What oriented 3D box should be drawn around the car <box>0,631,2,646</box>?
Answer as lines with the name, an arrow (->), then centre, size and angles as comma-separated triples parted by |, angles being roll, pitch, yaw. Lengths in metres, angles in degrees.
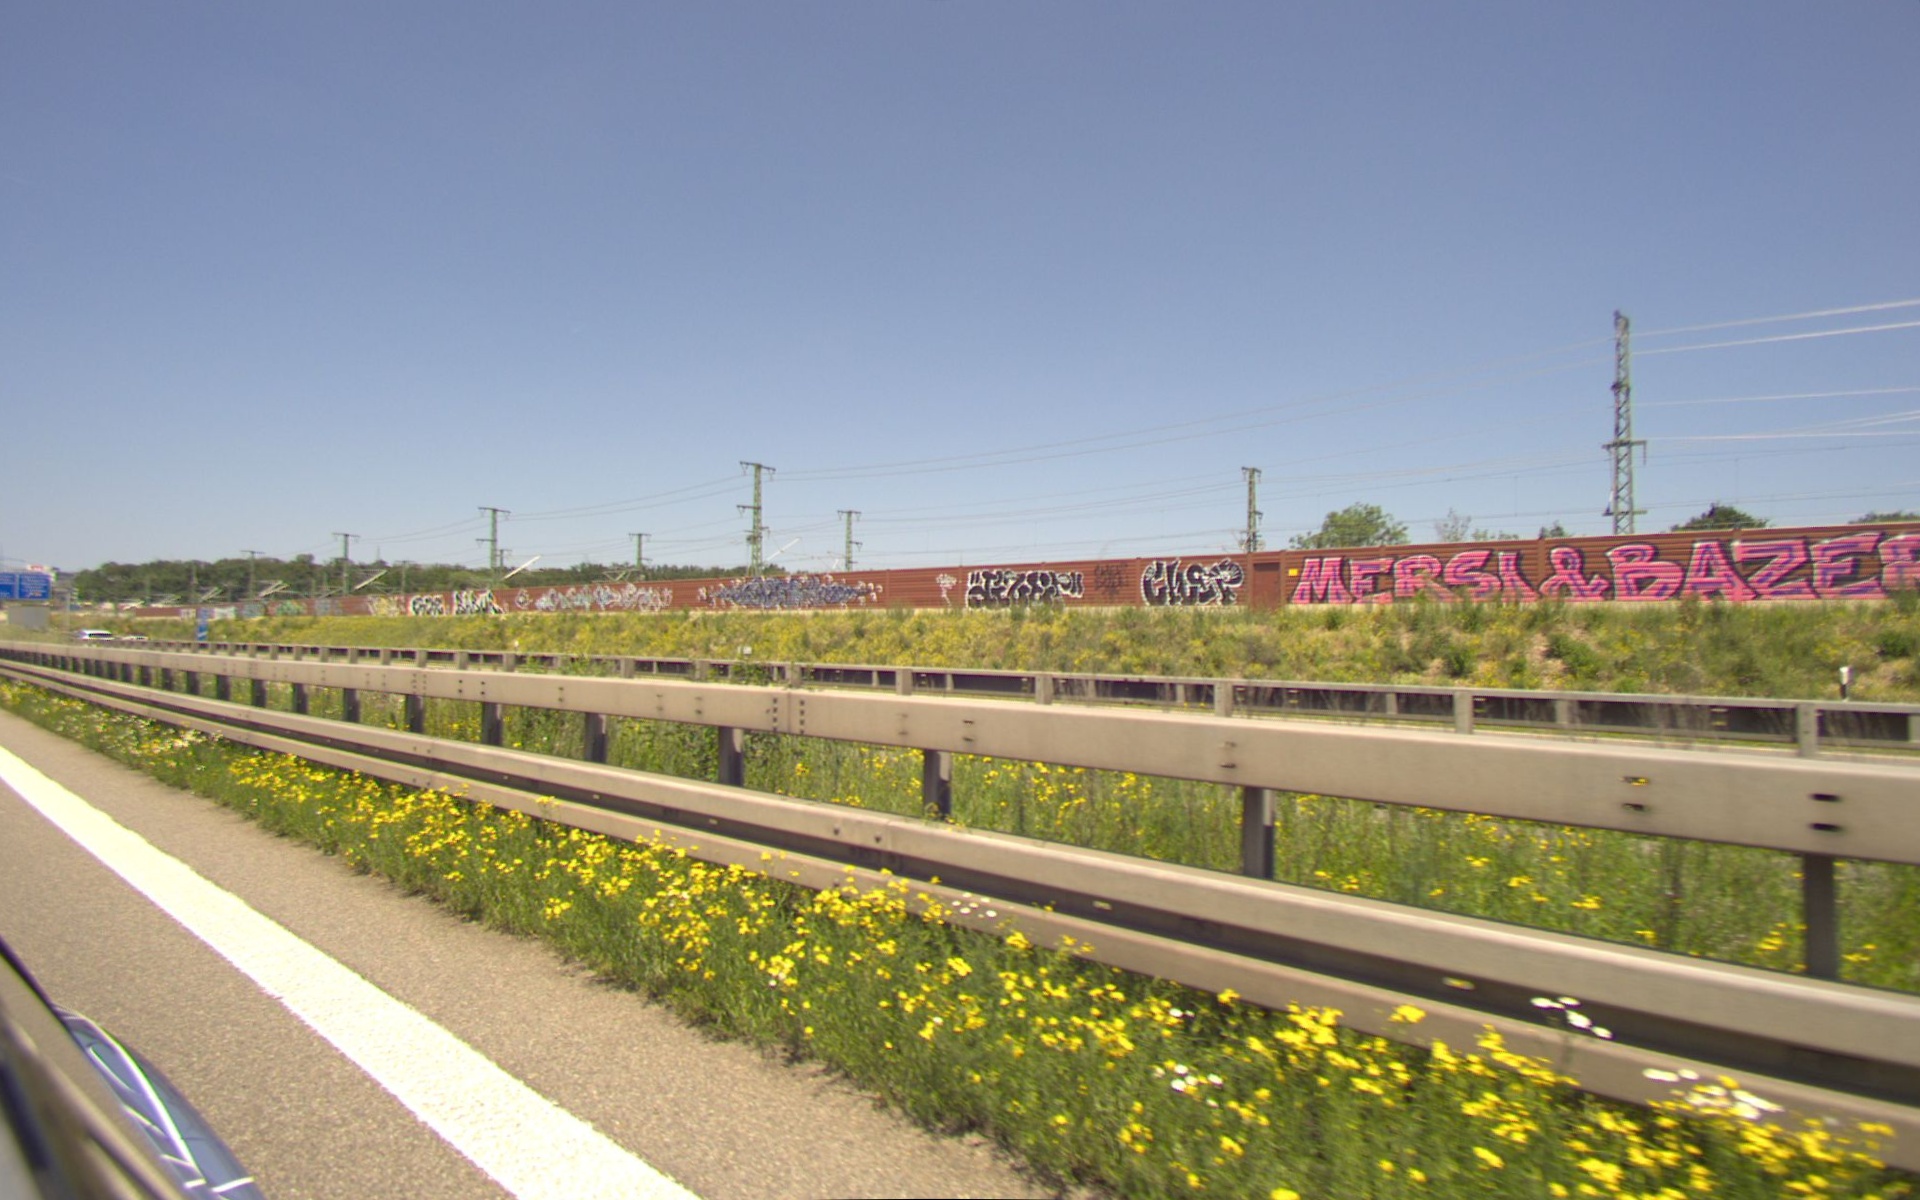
car -> -98.890, 3.911, 102.959 | 3.841, 1.490, 1.797 | -2, -2, 42

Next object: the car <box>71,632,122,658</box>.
car -> -55.584, 2.866, 65.130 | 4.807, 1.556, 1.893 | -2, -2, 42

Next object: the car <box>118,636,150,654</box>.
car -> -76.559, 4.174, 93.796 | 3.808, 1.556, 1.702 | -2, -2, 42

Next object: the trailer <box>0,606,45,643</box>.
trailer -> -109.129, 2.910, 117.649 | 13.526, 4.105, 2.701 | -1, -3, 42
